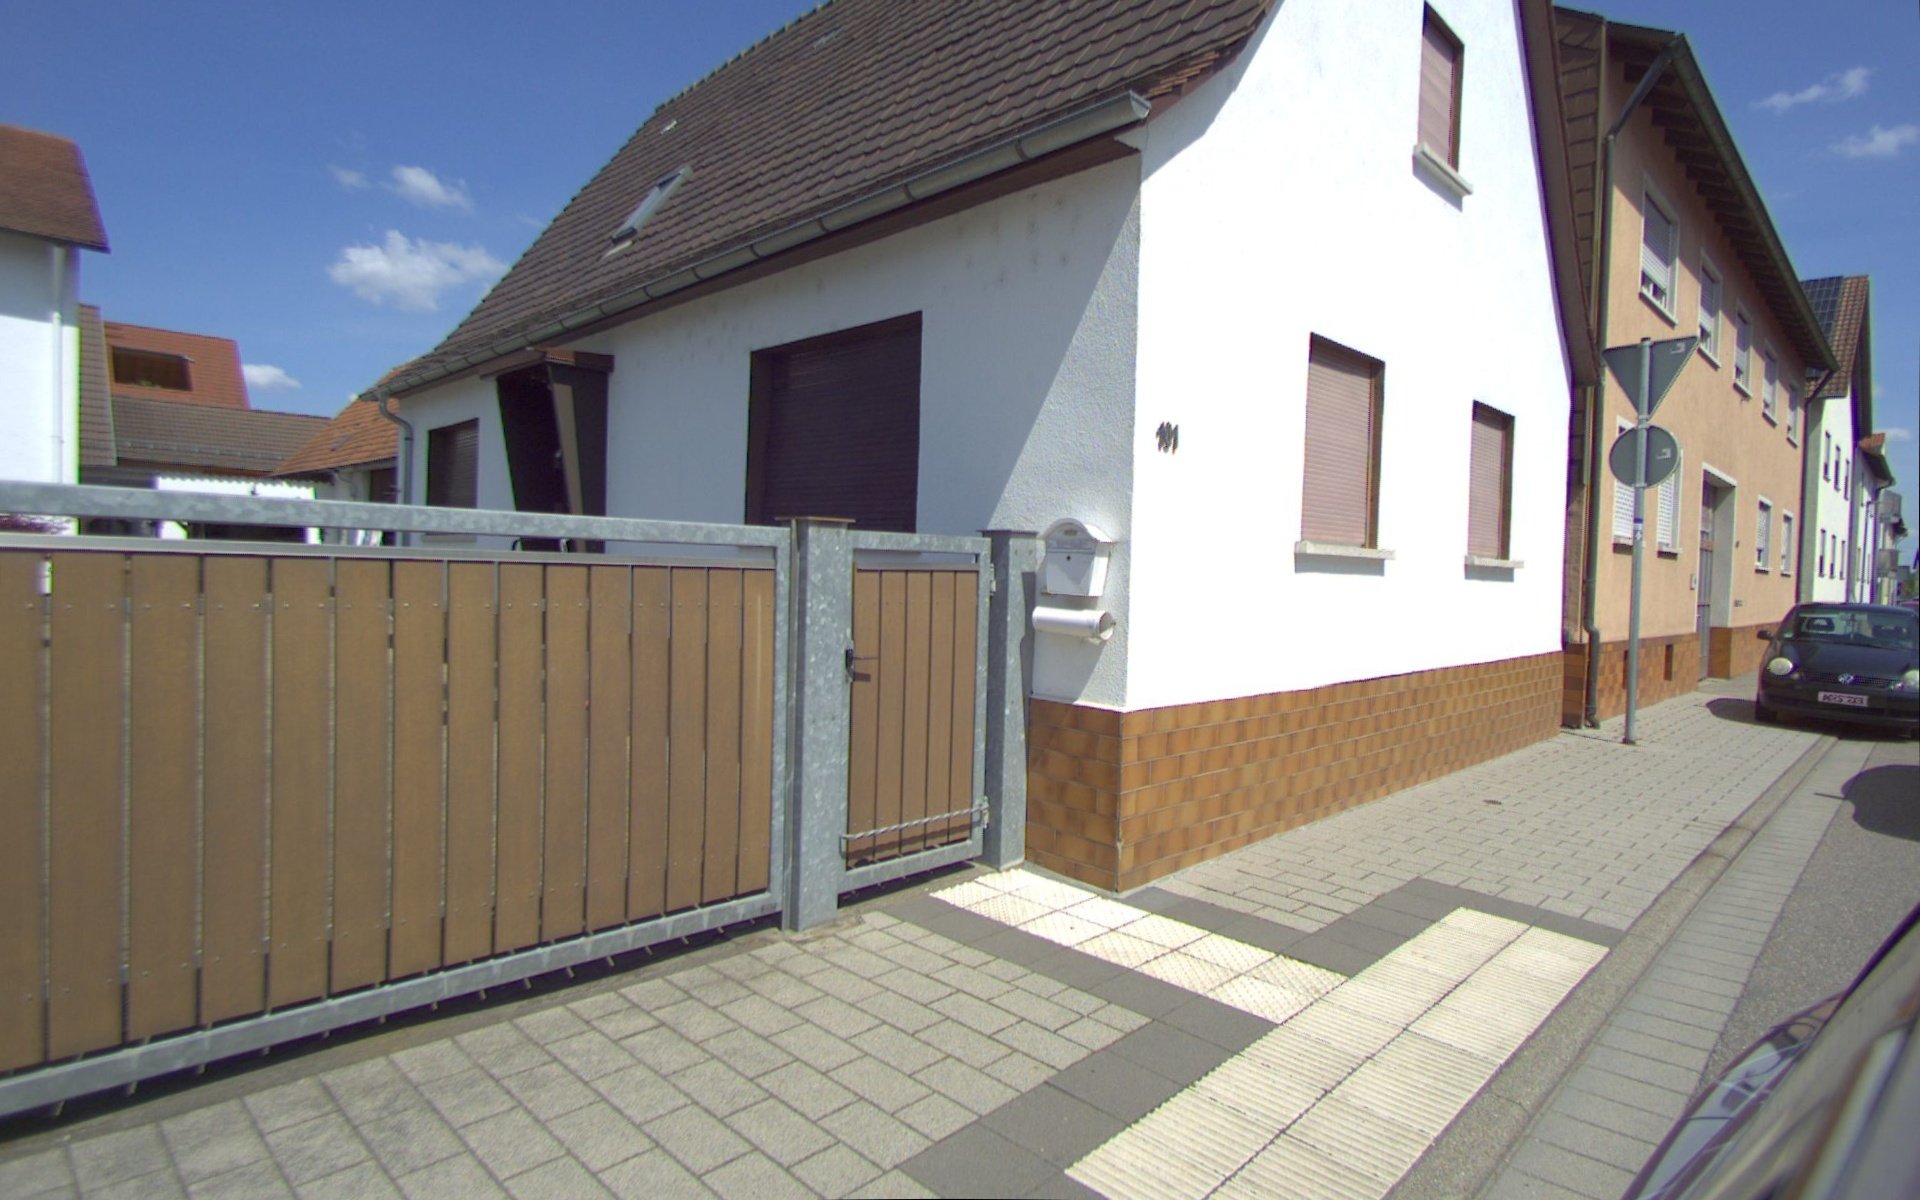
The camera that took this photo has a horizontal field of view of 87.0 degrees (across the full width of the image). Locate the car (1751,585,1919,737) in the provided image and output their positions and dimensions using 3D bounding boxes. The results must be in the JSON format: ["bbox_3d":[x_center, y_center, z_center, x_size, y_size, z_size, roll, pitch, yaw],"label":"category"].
[{"bbox_3d":[10.822,0.635,12.090,1.687,1.480,3.571,6,4,44],"label":"car"}]

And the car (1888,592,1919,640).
[{"bbox_3d":[30.970,0.513,32.344,1.761,1.446,4.121,3,2,44],"label":"car"}]
